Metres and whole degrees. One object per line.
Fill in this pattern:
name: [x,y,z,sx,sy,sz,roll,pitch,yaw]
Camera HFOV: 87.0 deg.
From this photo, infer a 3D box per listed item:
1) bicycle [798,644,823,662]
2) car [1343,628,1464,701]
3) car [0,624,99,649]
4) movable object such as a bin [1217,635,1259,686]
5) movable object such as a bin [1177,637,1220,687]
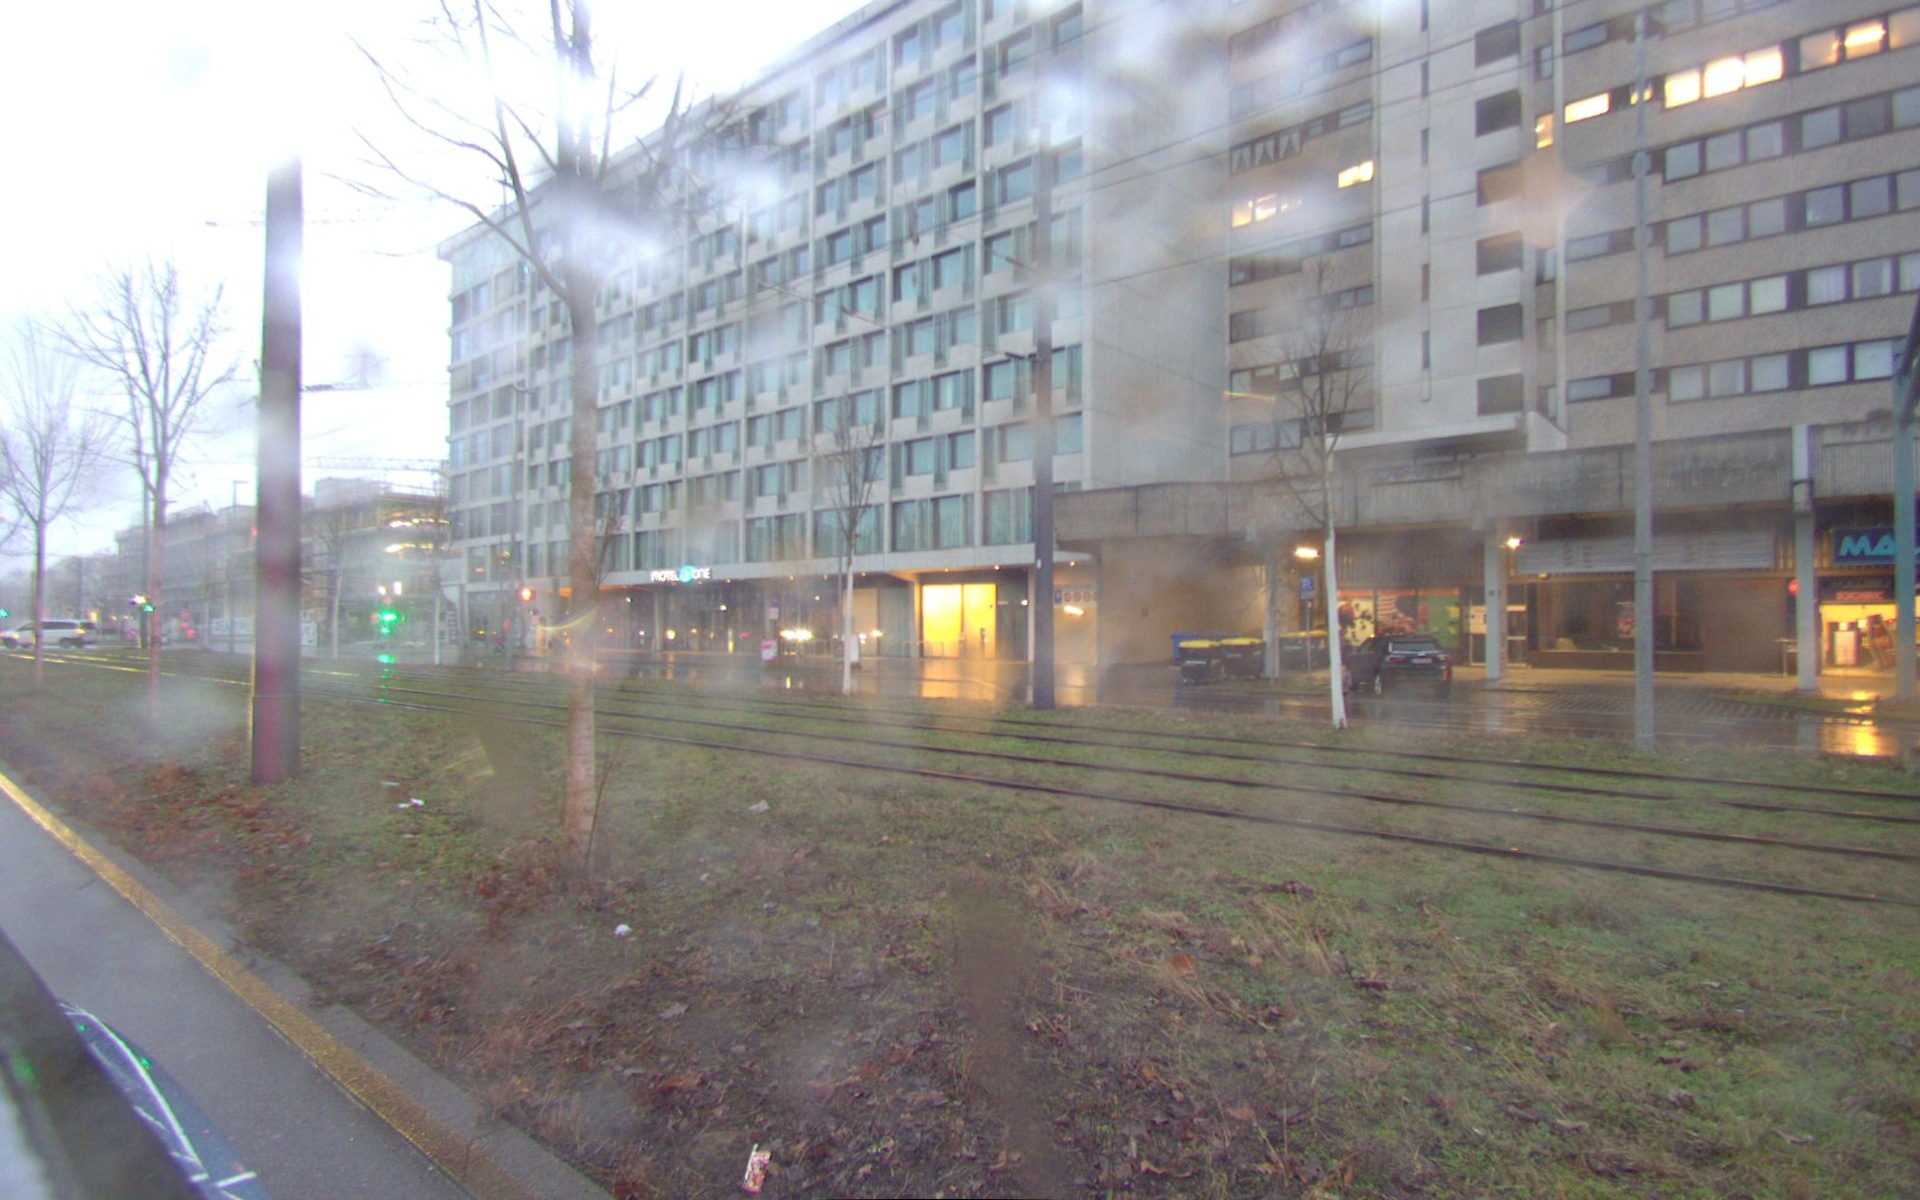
bicycle: [-7.844,2.758,53.196,0.465,0.860,1.332,-1,0,39]
car: [11.961,1.683,27.598,1.962,1.706,4.131,-1,0,9]
car: [-61.490,2.441,68.106,4.957,1.682,2.094,1,-2,-18]
movable object such as a bin: [8.682,1.858,31.561,1.008,1.512,1.042,-1,0,30]
movable object such as a bin: [7.328,1.886,31.108,1.027,1.437,1.063,-1,0,30]
